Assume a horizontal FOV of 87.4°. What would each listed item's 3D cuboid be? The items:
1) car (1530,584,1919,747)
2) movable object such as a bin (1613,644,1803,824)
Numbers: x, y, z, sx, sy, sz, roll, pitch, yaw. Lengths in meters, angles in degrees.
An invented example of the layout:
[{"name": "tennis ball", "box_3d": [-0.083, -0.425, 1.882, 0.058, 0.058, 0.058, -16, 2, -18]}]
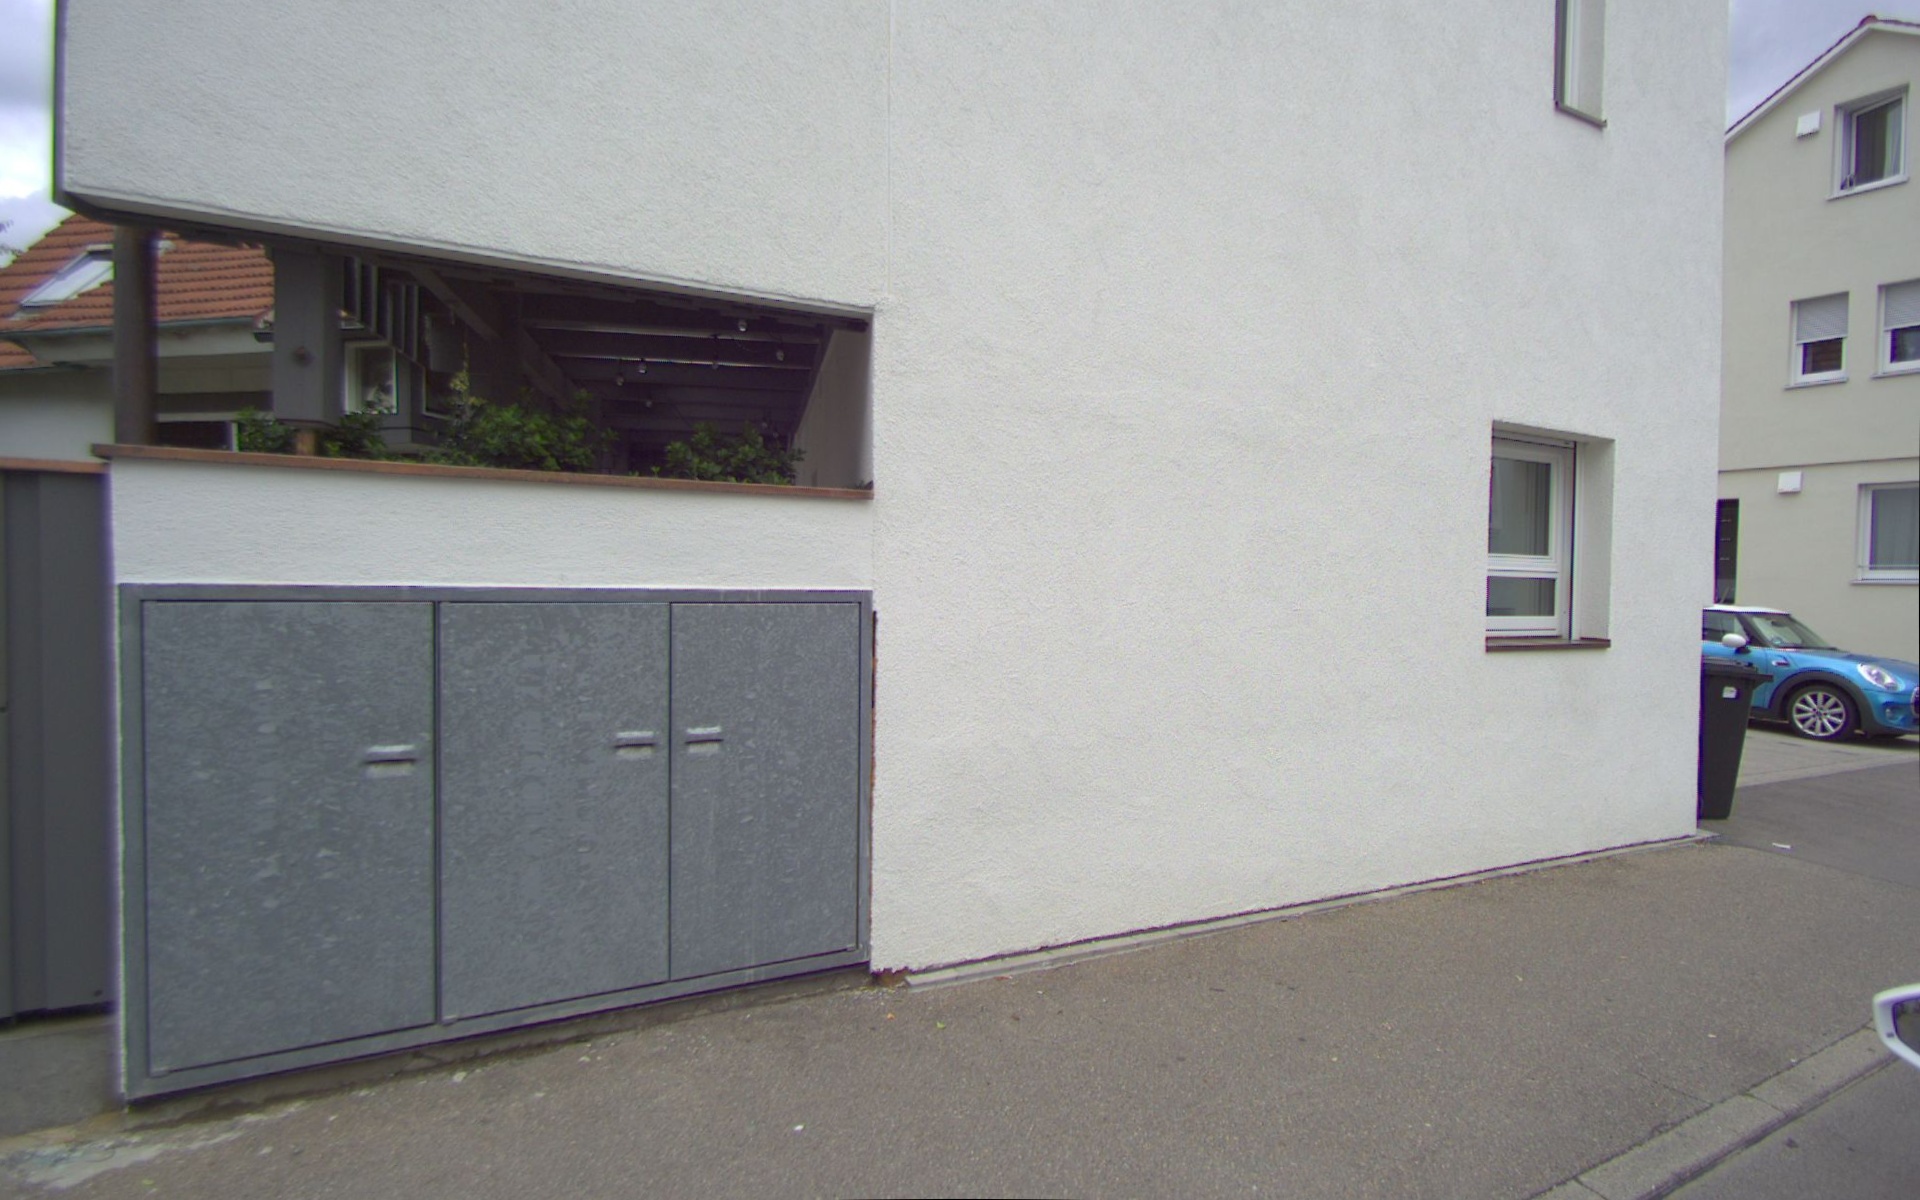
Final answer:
[{"name": "car", "box_3d": [9.397, 0.681, 12.180, 2.093, 1.430, 3.717, 3, 3, -26]}, {"name": "movable object such as a bin", "box_3d": [5.029, 0.884, 6.784, 0.739, 1.090, 0.615, 3, 3, -9]}]
